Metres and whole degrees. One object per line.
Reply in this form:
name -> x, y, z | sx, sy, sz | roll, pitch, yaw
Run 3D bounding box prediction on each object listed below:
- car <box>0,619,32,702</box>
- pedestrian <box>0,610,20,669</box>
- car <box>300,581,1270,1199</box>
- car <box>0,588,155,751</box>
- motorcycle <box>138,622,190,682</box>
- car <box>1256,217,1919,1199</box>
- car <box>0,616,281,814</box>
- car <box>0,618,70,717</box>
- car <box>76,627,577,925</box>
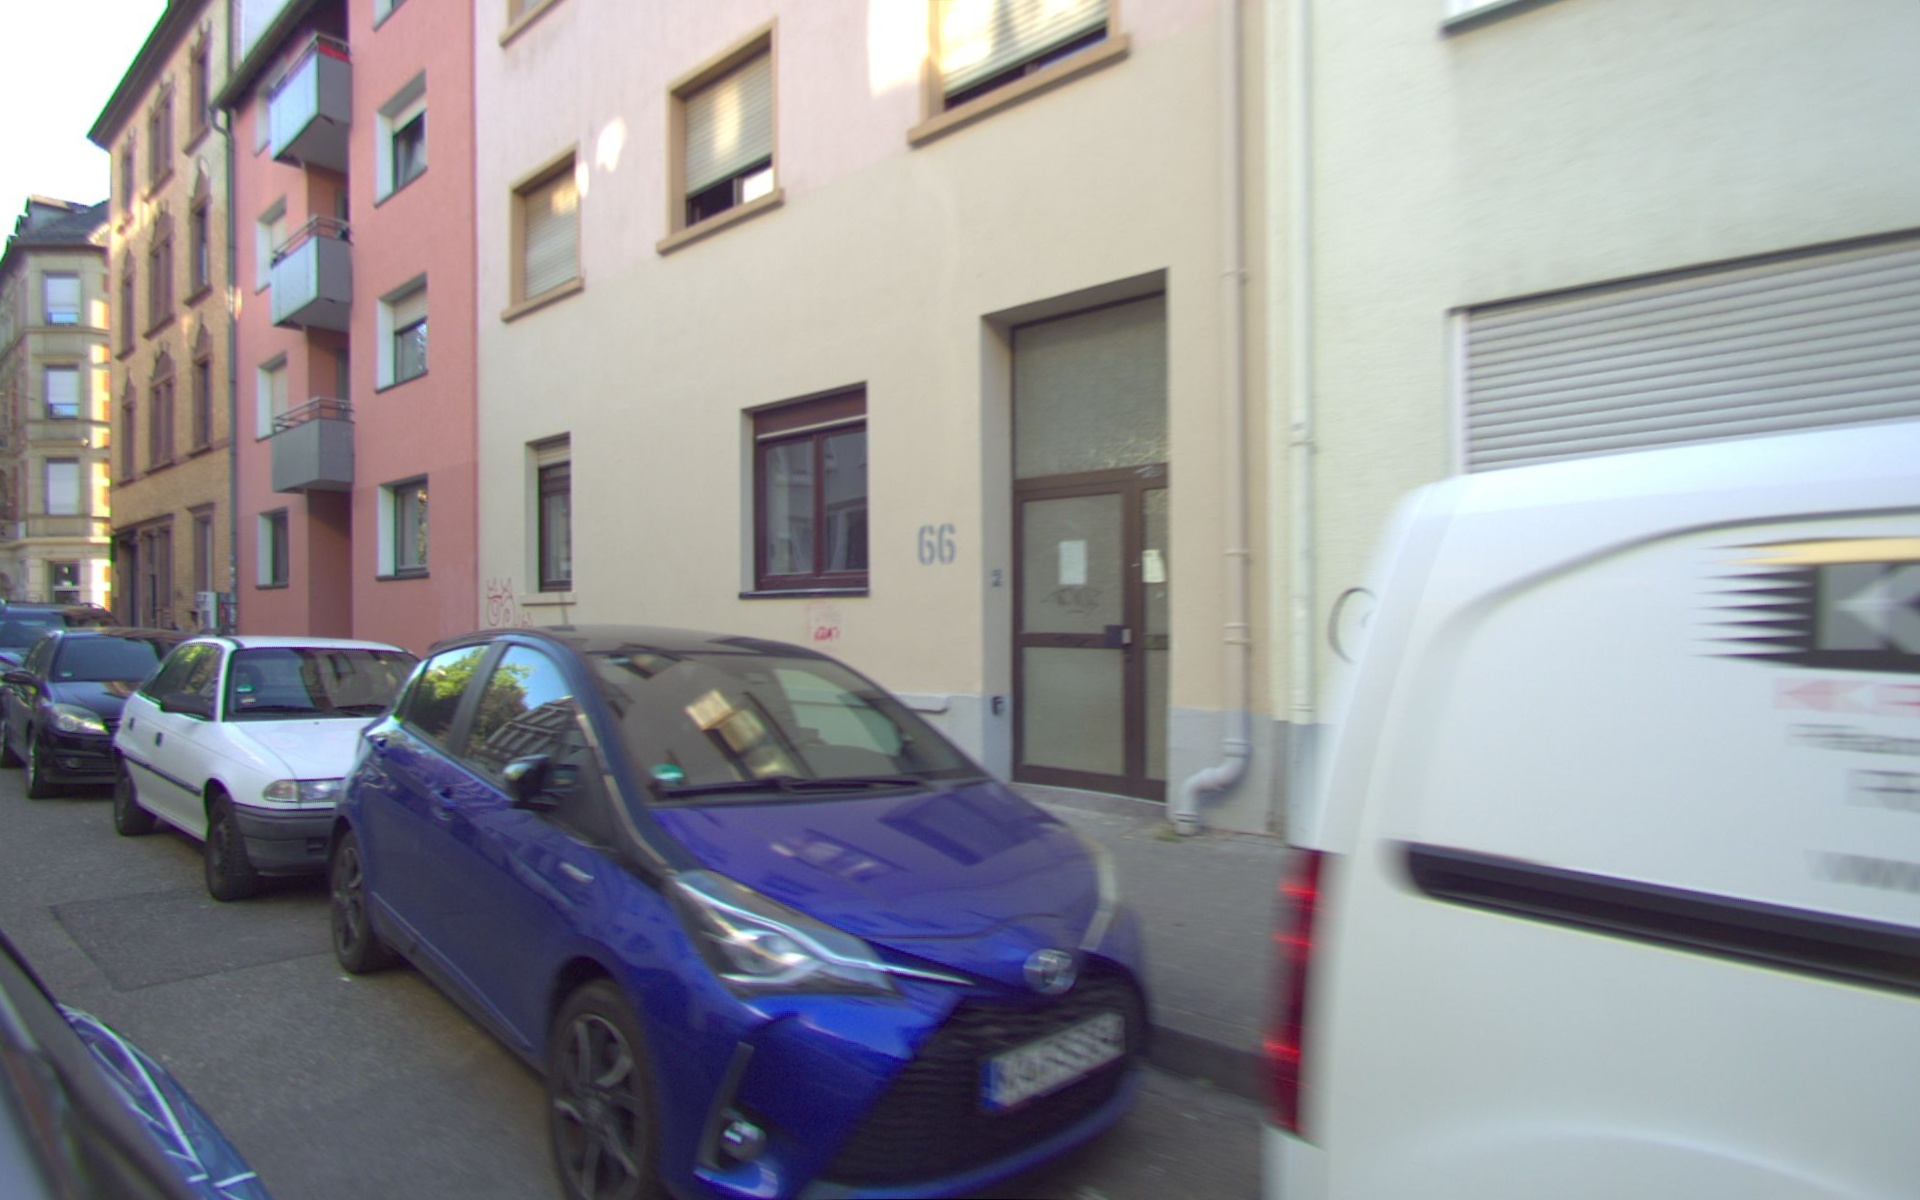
car -> -19.709, 1.156, 19.980 | 4.095, 1.533, 1.677 | -1, -3, 43
pedestrian -> -27.517, 1.136, 29.174 | 0.717, 1.656, 0.542 | 1, 2, 41
car -> -1.066, 0.781, 3.829 | 1.654, 1.497, 3.994 | 2, -3, -44
car -> -12.180, 0.840, 13.337 | 4.671, 1.825, 1.724 | -1, -3, 43
motorcycle -> -16.922, 1.072, 21.504 | 1.908, 1.215, 0.528 | -1, -1, 41
car -> 2.501, 0.532, 0.753 | 4.036, 1.799, 1.747 | -1, -3, 40
car -> -8.272, 0.951, 9.892 | 4.346, 1.518, 1.724 | -1, -3, 43
car -> -16.279, 1.074, 16.932 | 3.944, 1.533, 1.638 | -1, -3, 43
car -> -4.415, 0.891, 6.775 | 4.179, 1.399, 1.656 | -1, -3, 41
